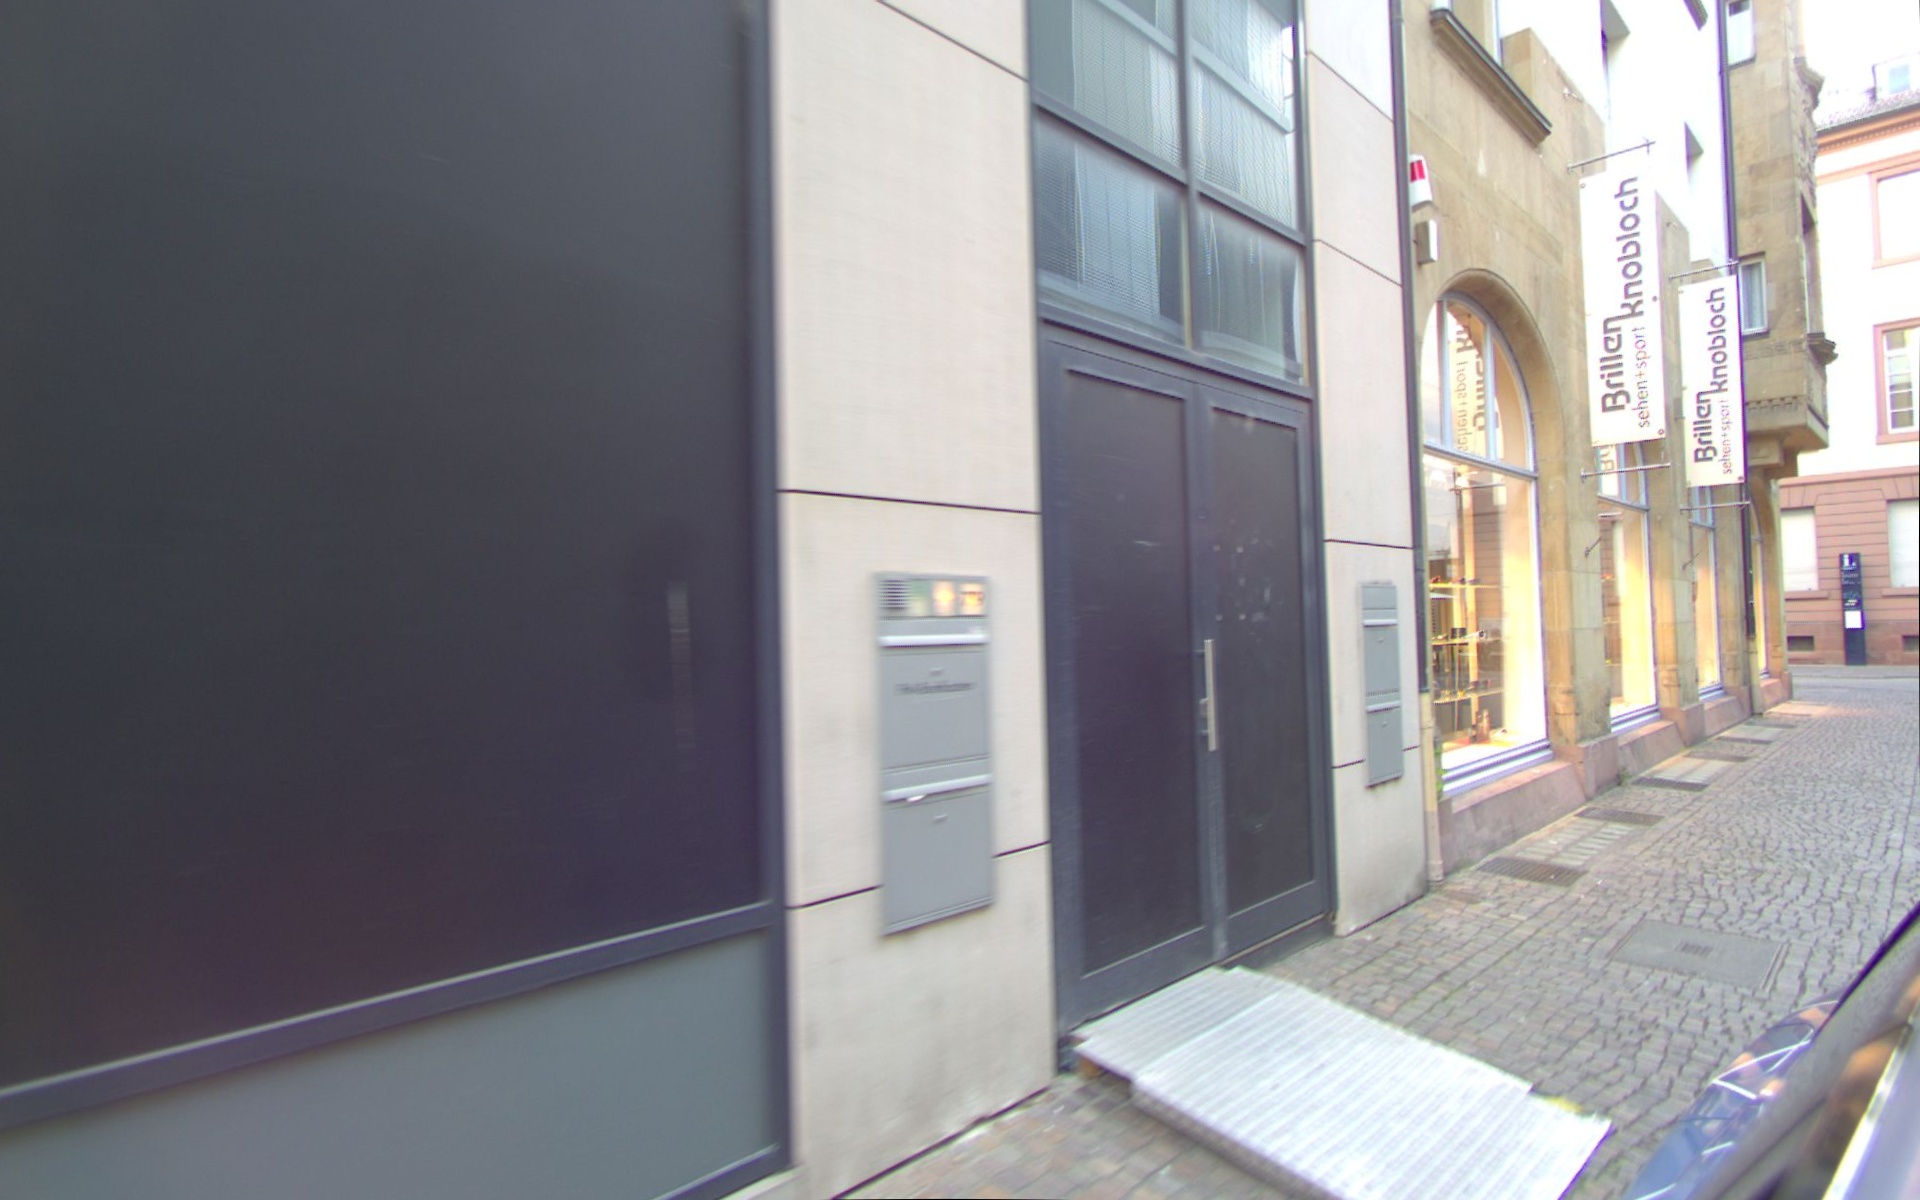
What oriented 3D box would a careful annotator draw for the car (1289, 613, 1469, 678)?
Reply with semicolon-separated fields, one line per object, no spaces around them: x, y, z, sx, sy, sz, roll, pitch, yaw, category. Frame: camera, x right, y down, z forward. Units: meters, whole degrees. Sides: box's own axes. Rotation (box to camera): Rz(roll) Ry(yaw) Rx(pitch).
10.820;1.179;26.337;1.623;1.460;3.991;-3;0;-42;car
